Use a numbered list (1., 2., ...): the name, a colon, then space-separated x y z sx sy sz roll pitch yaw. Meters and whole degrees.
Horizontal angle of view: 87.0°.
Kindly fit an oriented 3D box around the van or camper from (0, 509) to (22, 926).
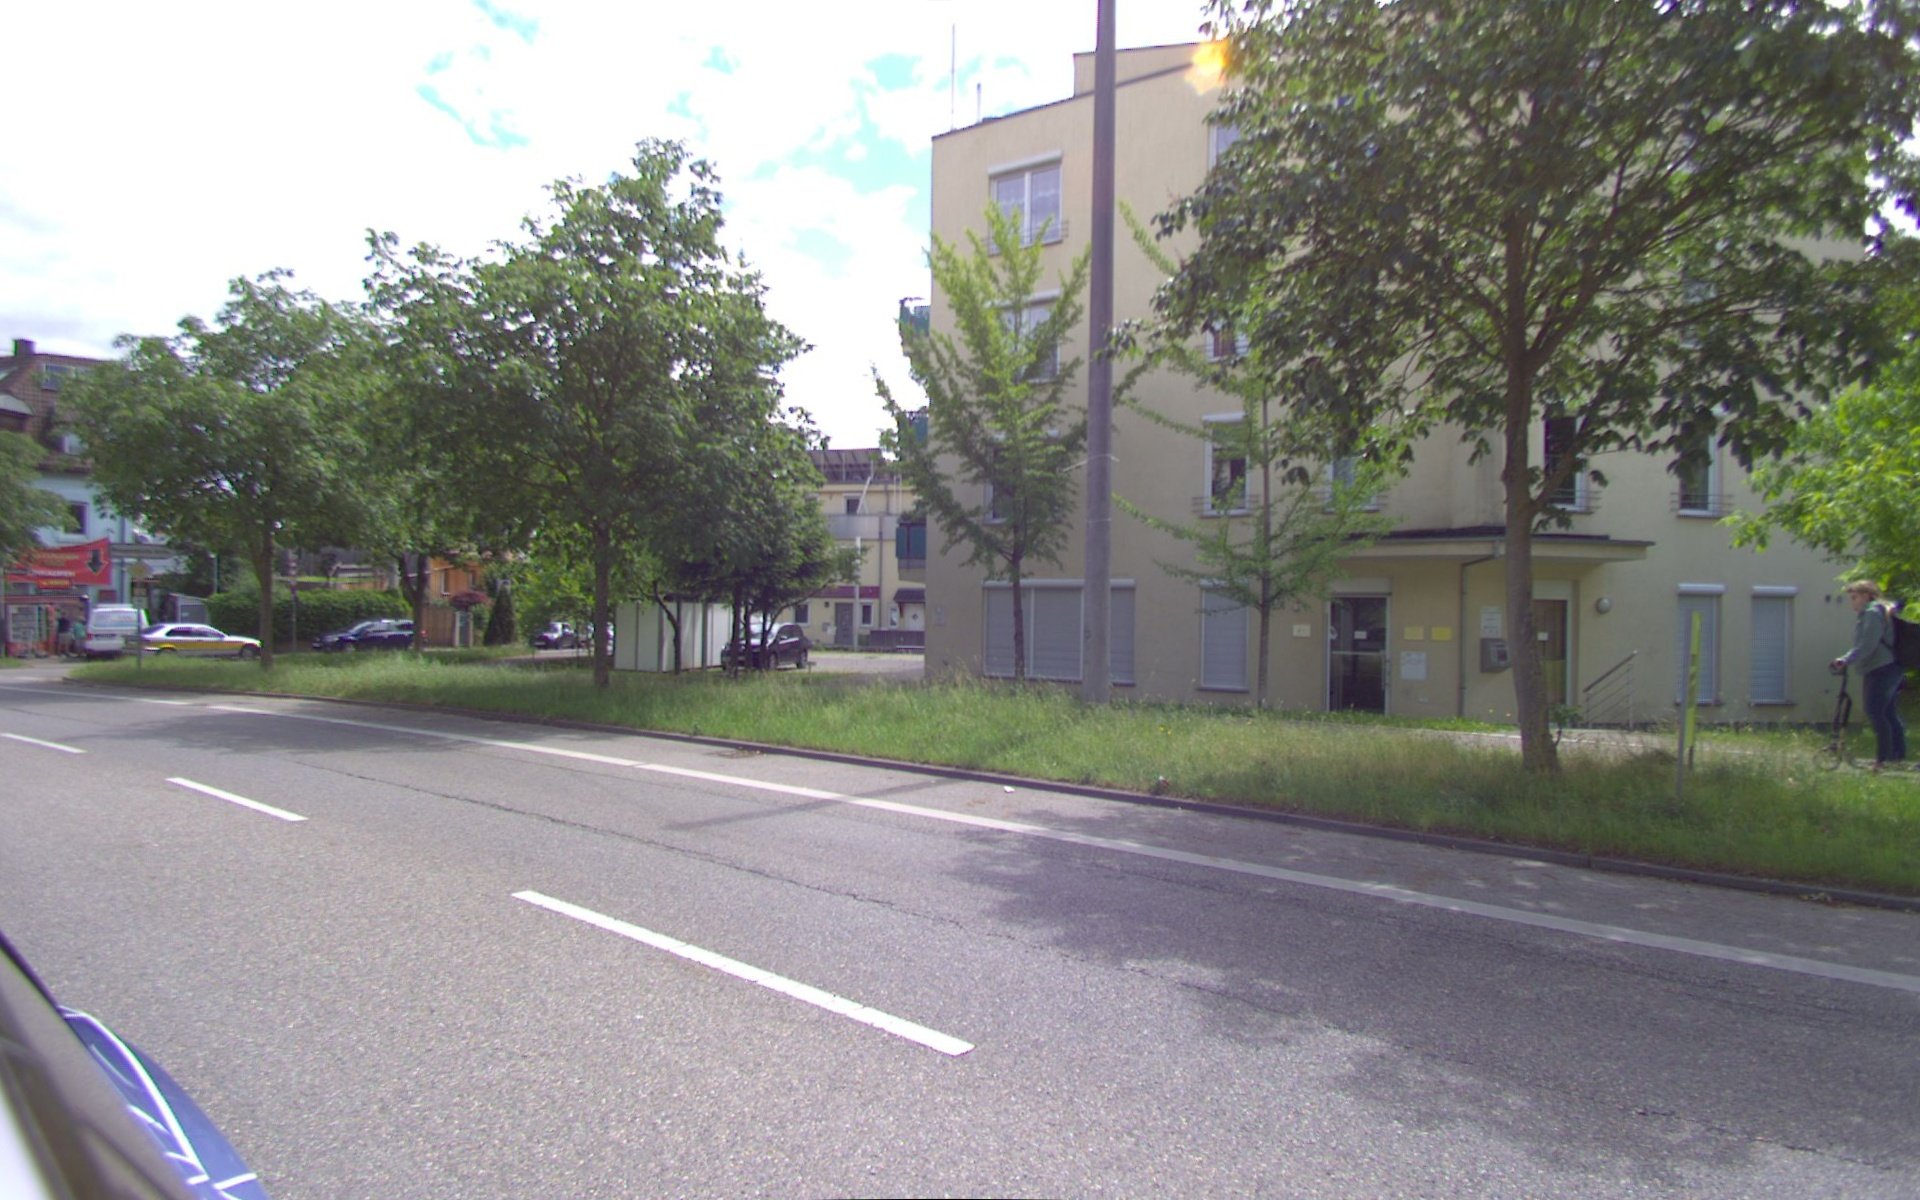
1. van or camper: -7.255 0.589 5.763 5.095 2.029 2.003 -1 -2 38

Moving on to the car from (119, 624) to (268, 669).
1. car: -27.443 1.634 36.366 1.528 1.332 4.009 0 1 26

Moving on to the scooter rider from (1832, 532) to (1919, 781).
1. scooter rider: 7.909 0.452 8.552 0.794 2.029 0.669 0 1 40

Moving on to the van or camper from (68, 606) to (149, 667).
1. van or camper: -31.723 1.293 37.661 3.810 2.104 1.770 0 1 42

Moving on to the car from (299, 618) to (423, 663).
1. car: -24.026 1.566 40.710 1.714 1.695 3.929 0 -1 36

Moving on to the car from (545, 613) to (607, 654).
1. car: -21.360 1.845 56.426 1.972 2.029 4.001 -1 1 -1

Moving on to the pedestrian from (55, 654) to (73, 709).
1. pedestrian: -33.963 3.094 38.369 0.363 2.029 0.419 0 1 42

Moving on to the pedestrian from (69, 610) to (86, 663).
1. pedestrian: -33.719 1.378 38.683 0.443 2.005 0.379 0 1 40

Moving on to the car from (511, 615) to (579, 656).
1. car: -21.275 1.794 52.076 1.953 2.029 4.001 -1 -1 -1

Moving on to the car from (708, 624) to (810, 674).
1. car: -6.120 1.522 31.326 1.774 1.431 3.986 -1 -3 10
